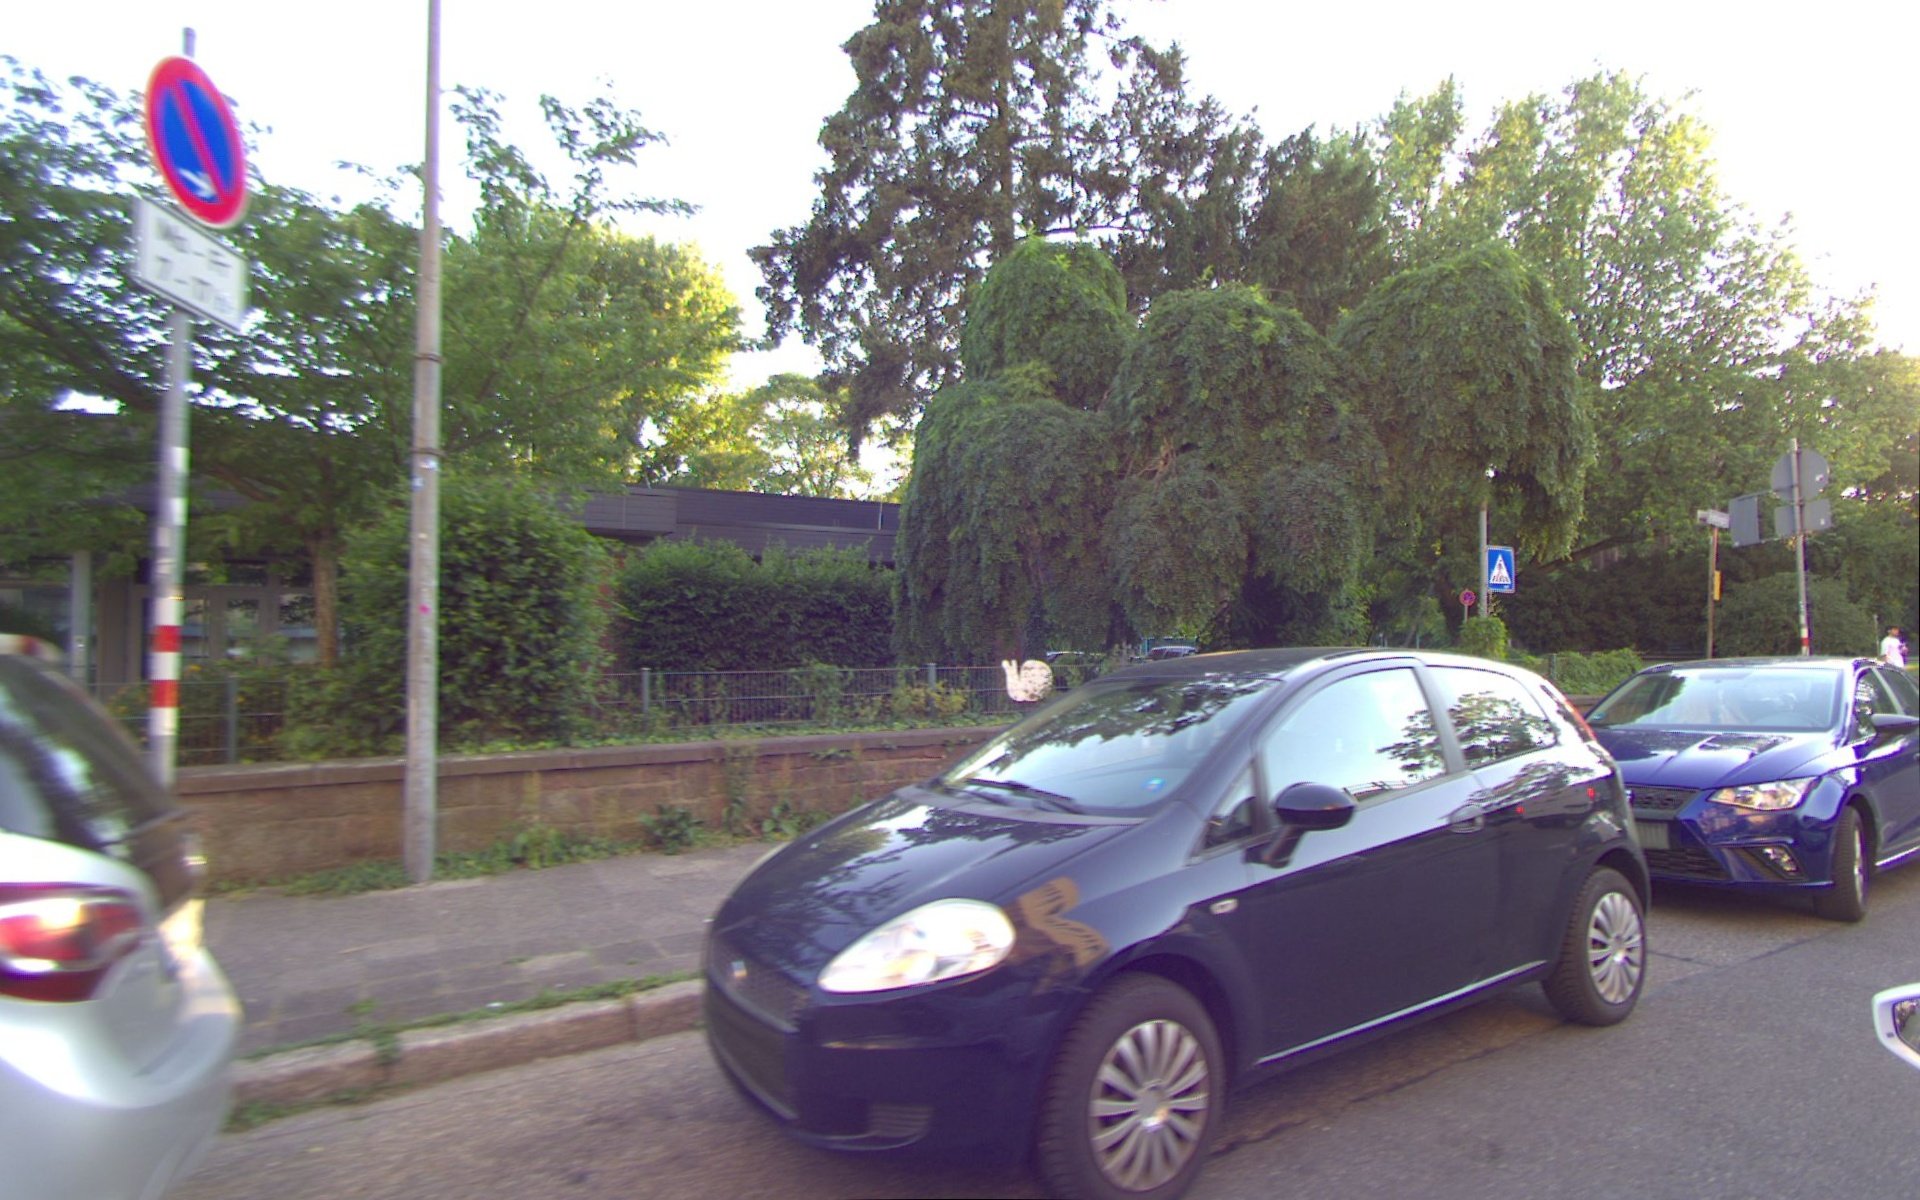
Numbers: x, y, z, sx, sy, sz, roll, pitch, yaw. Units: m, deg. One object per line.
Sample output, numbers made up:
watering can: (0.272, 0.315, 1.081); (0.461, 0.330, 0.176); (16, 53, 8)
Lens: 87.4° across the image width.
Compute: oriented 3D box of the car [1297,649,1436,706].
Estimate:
car: (12.876, 2.437, 32.052); (1.798, 1.511, 3.843); (-6, -1, -24)

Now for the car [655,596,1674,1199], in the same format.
car: (0.912, 0.884, 3.826); (3.659, 1.587, 1.724); (1, -5, -34)

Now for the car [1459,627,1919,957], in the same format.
car: (5.186, 1.030, 6.673); (3.753, 1.587, 1.723); (2, -5, -35)

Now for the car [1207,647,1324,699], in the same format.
car: (10.999, 2.624, 36.430); (1.800, 1.583, 3.857); (-6, -1, -27)

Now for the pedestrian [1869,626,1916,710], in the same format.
pedestrian: (20.612, 1.492, 22.210); (0.613, 1.833, 0.590); (1, -2, -30)

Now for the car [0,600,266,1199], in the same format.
car: (-3.467, 0.812, 1.357); (4.087, 1.587, 1.723); (2, -5, -34)

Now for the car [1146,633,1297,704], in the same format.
car: (7.417, 1.989, 28.879); (1.801, 1.821, 4.212); (5, -6, -28)
